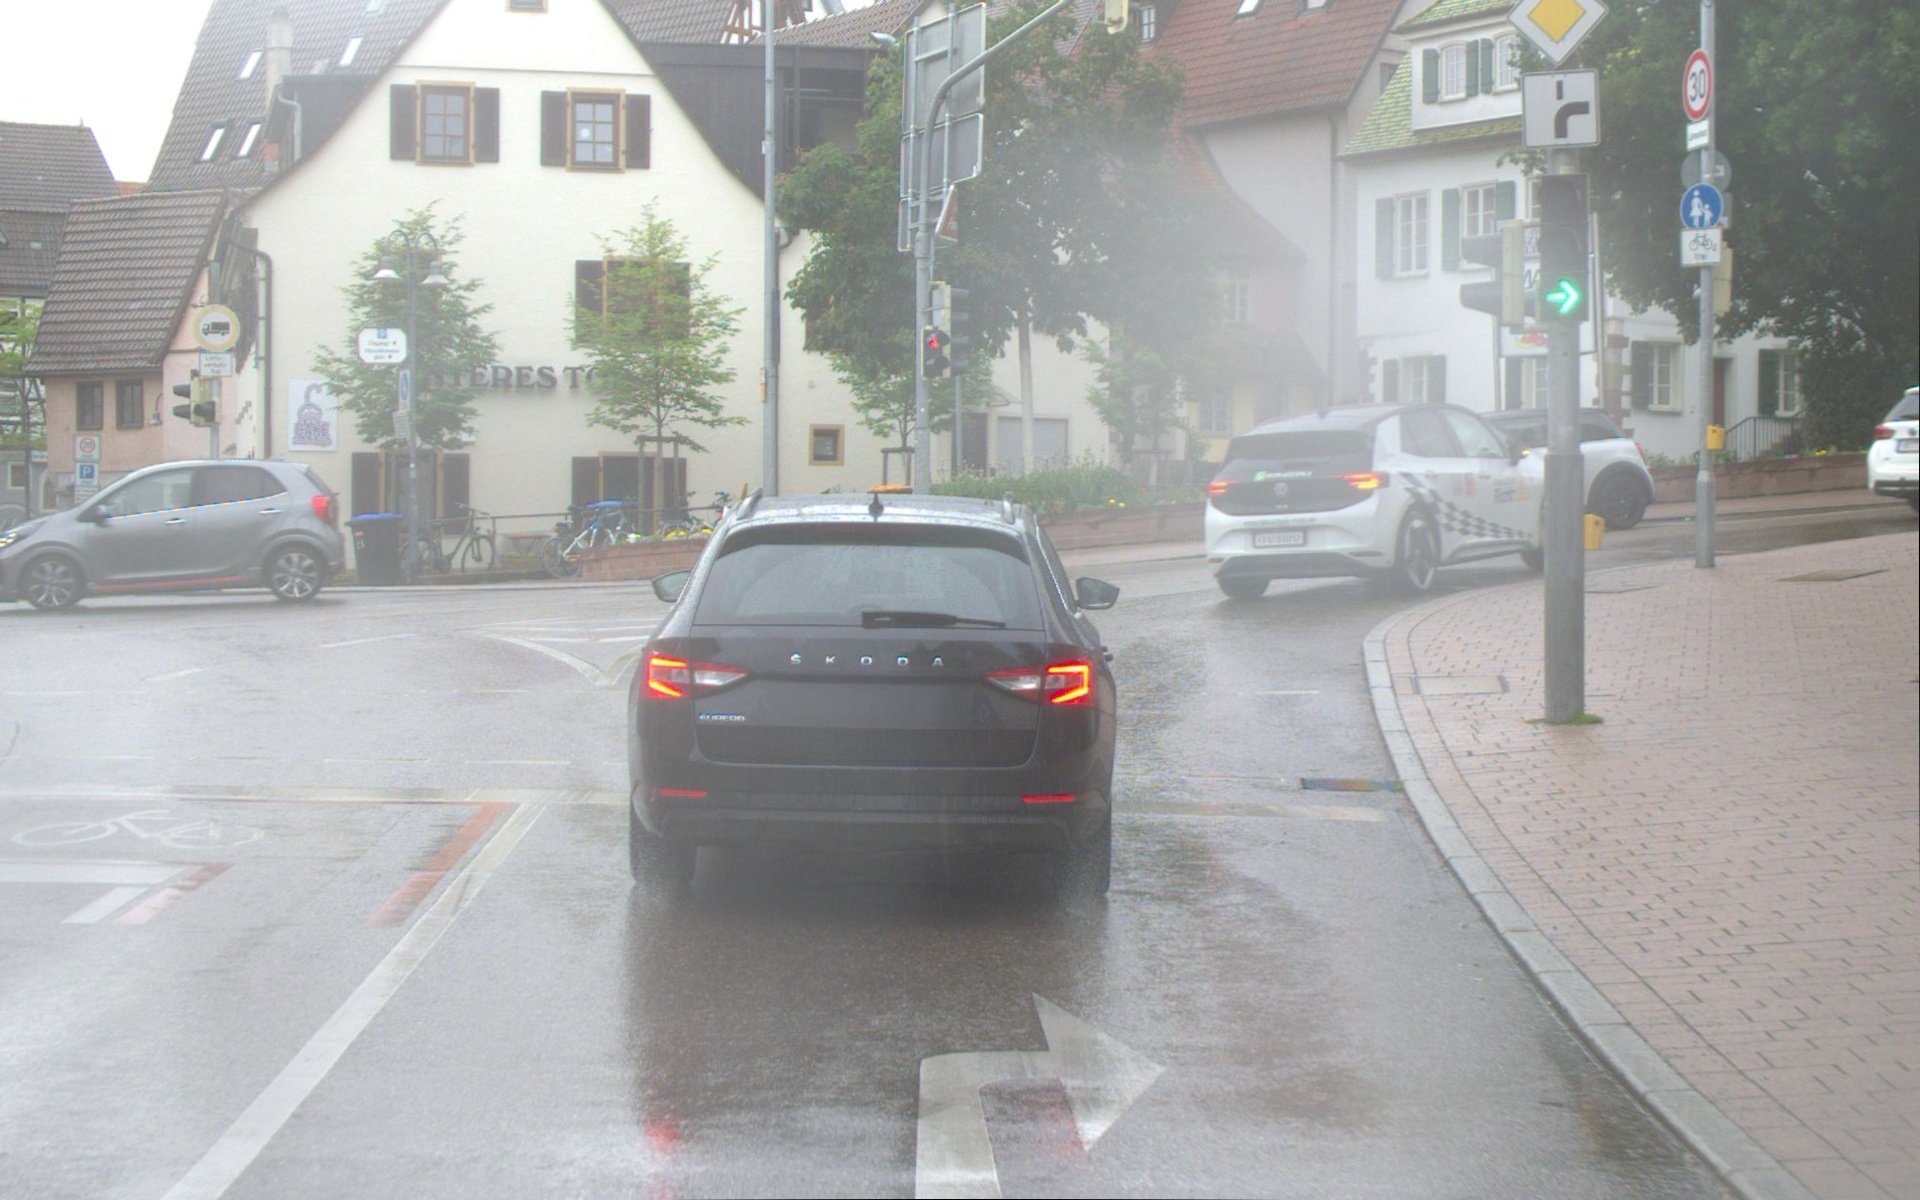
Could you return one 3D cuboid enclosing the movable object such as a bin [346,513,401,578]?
[{"bbox_3d":[-8.253,-0.768,48.358,0.586,0.898,0.584,-1,2,-31],"label":"movable object such as a bin"}]

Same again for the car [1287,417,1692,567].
[{"bbox_3d":[5.935,-1.240,38.698,3.986,1.426,2.001,-4,3,-14],"label":"car"}]

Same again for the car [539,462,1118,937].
[{"bbox_3d":[-0.490,0.251,13.811,1.886,1.443,4.358,-3,3,-1],"label":"car"}]

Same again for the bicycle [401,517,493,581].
[{"bbox_3d":[-7.051,-0.712,47.312,0.338,0.815,1.434,4,5,36],"label":"bicycle"}]

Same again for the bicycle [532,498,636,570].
[{"bbox_3d":[-5.254,-0.924,48.093,0.392,0.909,1.466,0,5,45],"label":"bicycle"}]

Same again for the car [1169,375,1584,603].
[{"bbox_3d":[3.586,-1.004,28.982,1.860,1.467,3.994,2,9,33],"label":"car"}]

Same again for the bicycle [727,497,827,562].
[{"bbox_3d":[-2.697,-1.045,50.721,1.465,0.909,0.393,-1,5,-33],"label":"bicycle"}]

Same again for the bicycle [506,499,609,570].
[{"bbox_3d":[-5.653,-0.927,48.369,0.392,0.909,1.466,0,5,45],"label":"bicycle"}]

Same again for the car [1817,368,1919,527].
[{"bbox_3d":[11.309,-1.691,35.903,4.311,1.590,1.892,-4,4,-25],"label":"car"}]

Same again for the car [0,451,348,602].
[{"bbox_3d":[-7.960,-0.769,35.021,3.378,1.472,1.536,-1,3,-10],"label":"car"}]

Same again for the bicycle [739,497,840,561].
[{"bbox_3d":[-2.499,-1.044,50.345,1.465,0.909,0.393,-1,5,-33],"label":"bicycle"}]

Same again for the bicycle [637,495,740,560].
[{"bbox_3d":[-3.925,-1.055,49.801,1.465,0.909,0.393,-1,5,-33],"label":"bicycle"}]

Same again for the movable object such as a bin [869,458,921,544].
[{"bbox_3d":[-0.979,-1.501,51.977,0.683,1.272,0.749,1,2,-7],"label":"movable object such as a bin"}]
